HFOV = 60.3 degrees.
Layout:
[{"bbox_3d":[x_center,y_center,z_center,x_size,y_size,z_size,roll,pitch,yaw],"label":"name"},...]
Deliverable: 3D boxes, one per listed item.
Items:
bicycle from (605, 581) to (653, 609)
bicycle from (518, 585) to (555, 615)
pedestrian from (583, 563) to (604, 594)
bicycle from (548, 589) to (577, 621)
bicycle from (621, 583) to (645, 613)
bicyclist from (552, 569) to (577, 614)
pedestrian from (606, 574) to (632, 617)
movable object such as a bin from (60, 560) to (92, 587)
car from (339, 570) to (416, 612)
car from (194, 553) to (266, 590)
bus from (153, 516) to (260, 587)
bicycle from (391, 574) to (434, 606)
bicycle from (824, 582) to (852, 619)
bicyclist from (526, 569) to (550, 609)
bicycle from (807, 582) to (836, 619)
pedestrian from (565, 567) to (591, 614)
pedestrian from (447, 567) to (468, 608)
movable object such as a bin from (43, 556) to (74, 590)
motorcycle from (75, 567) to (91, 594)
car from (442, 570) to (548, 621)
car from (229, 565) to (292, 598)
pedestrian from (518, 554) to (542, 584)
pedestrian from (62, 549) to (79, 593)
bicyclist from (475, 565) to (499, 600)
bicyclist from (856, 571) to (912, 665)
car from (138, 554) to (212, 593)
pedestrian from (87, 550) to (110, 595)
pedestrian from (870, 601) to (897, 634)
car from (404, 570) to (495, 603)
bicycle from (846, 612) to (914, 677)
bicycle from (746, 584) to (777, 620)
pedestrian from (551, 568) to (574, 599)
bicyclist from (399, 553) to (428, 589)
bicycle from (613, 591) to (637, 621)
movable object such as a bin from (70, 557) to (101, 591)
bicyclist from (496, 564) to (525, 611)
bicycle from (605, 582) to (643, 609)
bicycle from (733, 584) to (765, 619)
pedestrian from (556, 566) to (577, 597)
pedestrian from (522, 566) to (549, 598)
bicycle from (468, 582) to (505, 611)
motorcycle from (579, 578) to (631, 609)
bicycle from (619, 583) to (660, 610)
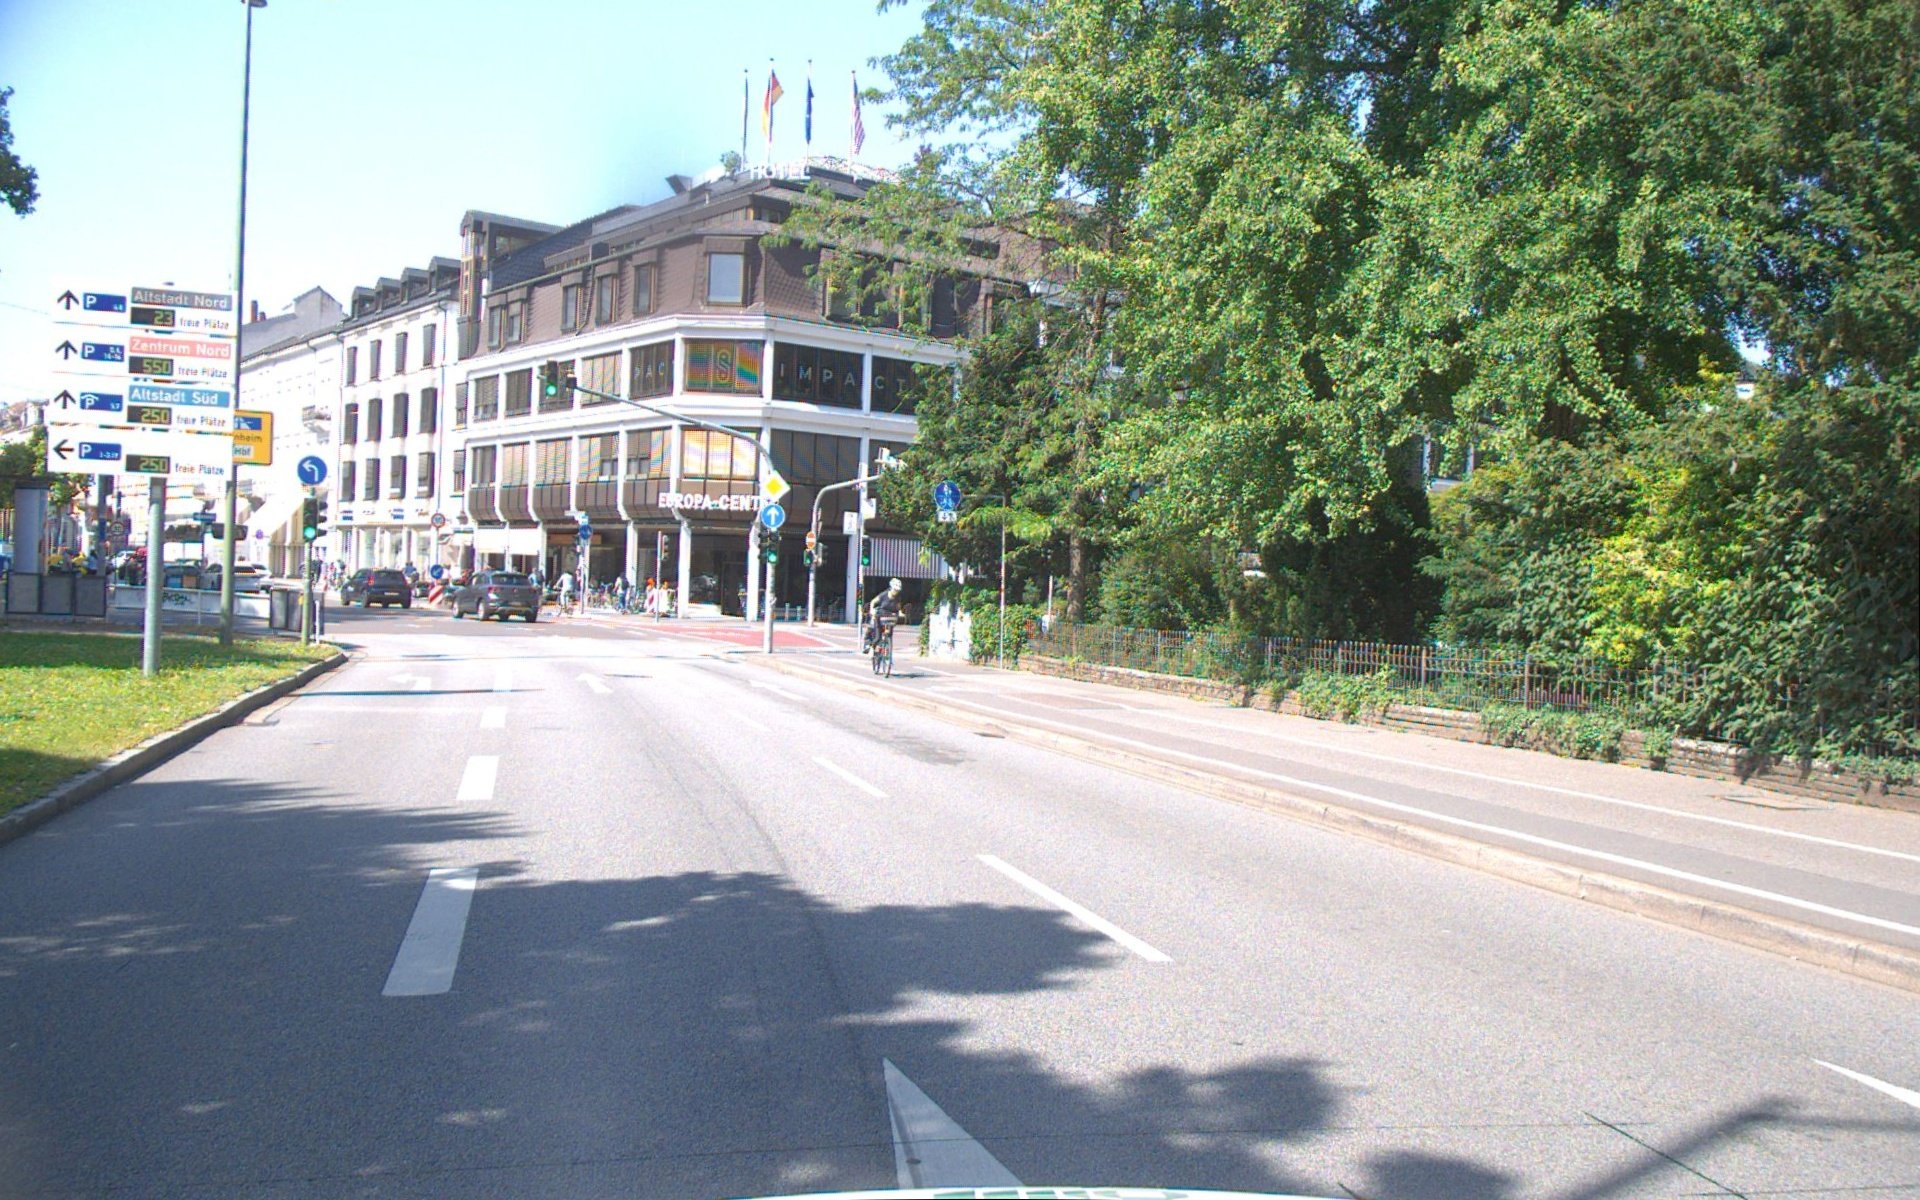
[{"bbox_3d":[-14.155,-0.207,70.736,0.273,1.140,2.226,3,1,45],"label":"bicycle"},{"bbox_3d":[-16.853,-0.021,65.719,0.615,1.118,2.324,2,0,-35],"label":"bicycle"},{"bbox_3d":[-16.892,-1.000,76.236,0.706,1.421,0.687,1,-1,-38],"label":"pedestrian"},{"bbox_3d":[-15.080,0.193,62.745,0.588,1.140,1.784,2,1,-29],"label":"bicycle"},{"bbox_3d":[-13.425,-0.078,67.798,0.273,1.140,2.222,2,1,-29],"label":"bicycle"},{"bbox_3d":[-14.930,-0.332,62.473,0.687,1.654,0.827,1,1,-29],"label":"bicyclist"},{"bbox_3d":[-13.696,-0.193,66.462,0.823,1.692,0.690,1,-1,-29],"label":"pedestrian"},{"bbox_3d":[-44.274,-1.334,82.812,1.268,1.322,0.842,2,0,-37],"label":"movable object such as a bin"},{"bbox_3d":[-22.445,-0.355,63.662,1.818,1.554,3.950,0,1,-36],"label":"car"},{"bbox_3d":[-30.177,-1.169,68.331,1.849,1.466,3.947,1,0,-37],"label":"car"},{"bbox_3d":[-44.798,-2.918,97.990,2.861,3.807,12.259,4,0,-38],"label":"bus"},{"bbox_3d":[-25.700,-0.495,77.650,0.971,1.410,2.961,2,0,-38],"label":"bicycle"},{"bbox_3d":[-4.981,0.027,67.636,0.518,1.447,1.969,2,2,14],"label":"bicycle"},{"bbox_3d":[-16.714,-0.440,65.534,0.614,1.556,0.859,2,0,-33],"label":"bicyclist"},{"bbox_3d":[-5.638,0.016,67.402,0.518,1.447,1.969,2,2,14],"label":"bicycle"},{"bbox_3d":[-15.296,-0.378,66.203,0.823,1.868,0.690,1,-1,-29],"label":"pedestrian"},{"bbox_3d":[-22.175,-0.553,73.009,0.615,1.749,0.825,2,0,-35],"label":"pedestrian"},{"bbox_3d":[-41.723,-1.253,76.532,1.112,1.476,1.424,4,1,-31],"label":"movable object such as a bin"},{"bbox_3d":[-33.846,-0.745,63.822,0.448,1.015,2.141,3,-1,-27],"label":"motorcycle"},{"bbox_3d":[-14.818,-0.166,52.615,1.822,1.554,3.943,0,1,-40],"label":"car"},{"bbox_3d":[-33.178,-0.883,78.418,1.820,1.554,3.947,0,1,-37],"label":"car"},{"bbox_3d":[-21.438,-1.546,82.463,0.741,1.388,0.576,-15,11,-38],"label":"pedestrian"},{"bbox_3d":[-34.197,-1.112,63.567,0.543,1.694,0.928,1,-1,-28],"label":"pedestrian"},{"bbox_3d":[-19.184,-0.704,67.048,0.616,1.378,0.835,2,0,-39],"label":"bicyclist"},{"bbox_3d":[-1.386,0.330,30.022,0.752,1.664,0.938,1,-1,-19],"label":"bicyclist"},{"bbox_3d":[-30.776,-1.059,64.783,1.921,1.378,4.197,1,2,-36],"label":"car"},{"bbox_3d":[-33.163,-1.056,63.659,0.688,1.725,0.682,1,-1,-35],"label":"pedestrian"},{"bbox_3d":[-3.263,0.733,70.573,0.809,1.358,0.972,2,0,16],"label":"pedestrian"},{"bbox_3d":[-25.647,-0.659,83.080,4.012,1.521,1.818,1,-1,-36],"label":"car"},{"bbox_3d":[-1.480,0.791,30.277,0.746,1.140,1.991,1,-1,-18],"label":"bicycle"},{"bbox_3d":[-7.778,0.056,64.886,0.518,1.339,1.861,2,2,14],"label":"bicycle"},{"bbox_3d":[-18.851,-0.780,78.392,0.808,1.421,0.687,2,0,-39],"label":"pedestrian"},{"bbox_3d":[-25.659,-1.357,77.660,0.975,1.627,1.041,2,0,-37],"label":"bicyclist"},{"bbox_3d":[-13.645,0.220,67.339,0.273,1.140,2.222,2,1,-29],"label":"bicycle"},{"bbox_3d":[-40.778,-1.234,77.131,1.112,1.476,1.424,4,1,-31],"label":"movable object such as a bin"},{"bbox_3d":[-17.072,-0.480,62.797,0.689,1.702,0.904,4,0,-36],"label":"bicyclist"},{"bbox_3d":[-14.102,-0.180,69.485,1.554,1.140,0.275,0,1,-31],"label":"bicycle"},{"bbox_3d":[-8.290,0.049,64.954,0.518,1.339,1.969,2,2,14],"label":"bicycle"},{"bbox_3d":[-18.459,-0.849,77.641,0.706,1.421,0.687,1,-1,-38],"label":"pedestrian"},{"bbox_3d":[-20.947,-0.877,81.608,0.872,1.390,0.529,17,-9,-38],"label":"pedestrian"},{"bbox_3d":[-19.209,-0.137,67.067,0.616,1.118,2.320,2,0,-38],"label":"bicycle"},{"bbox_3d":[-15.601,-0.302,72.750,2.195,1.313,0.946,1,0,-9],"label":"motorcycle"},{"bbox_3d":[-13.347,-0.149,68.919,1.699,1.140,0.275,0,1,-31],"label":"bicycle"}]
